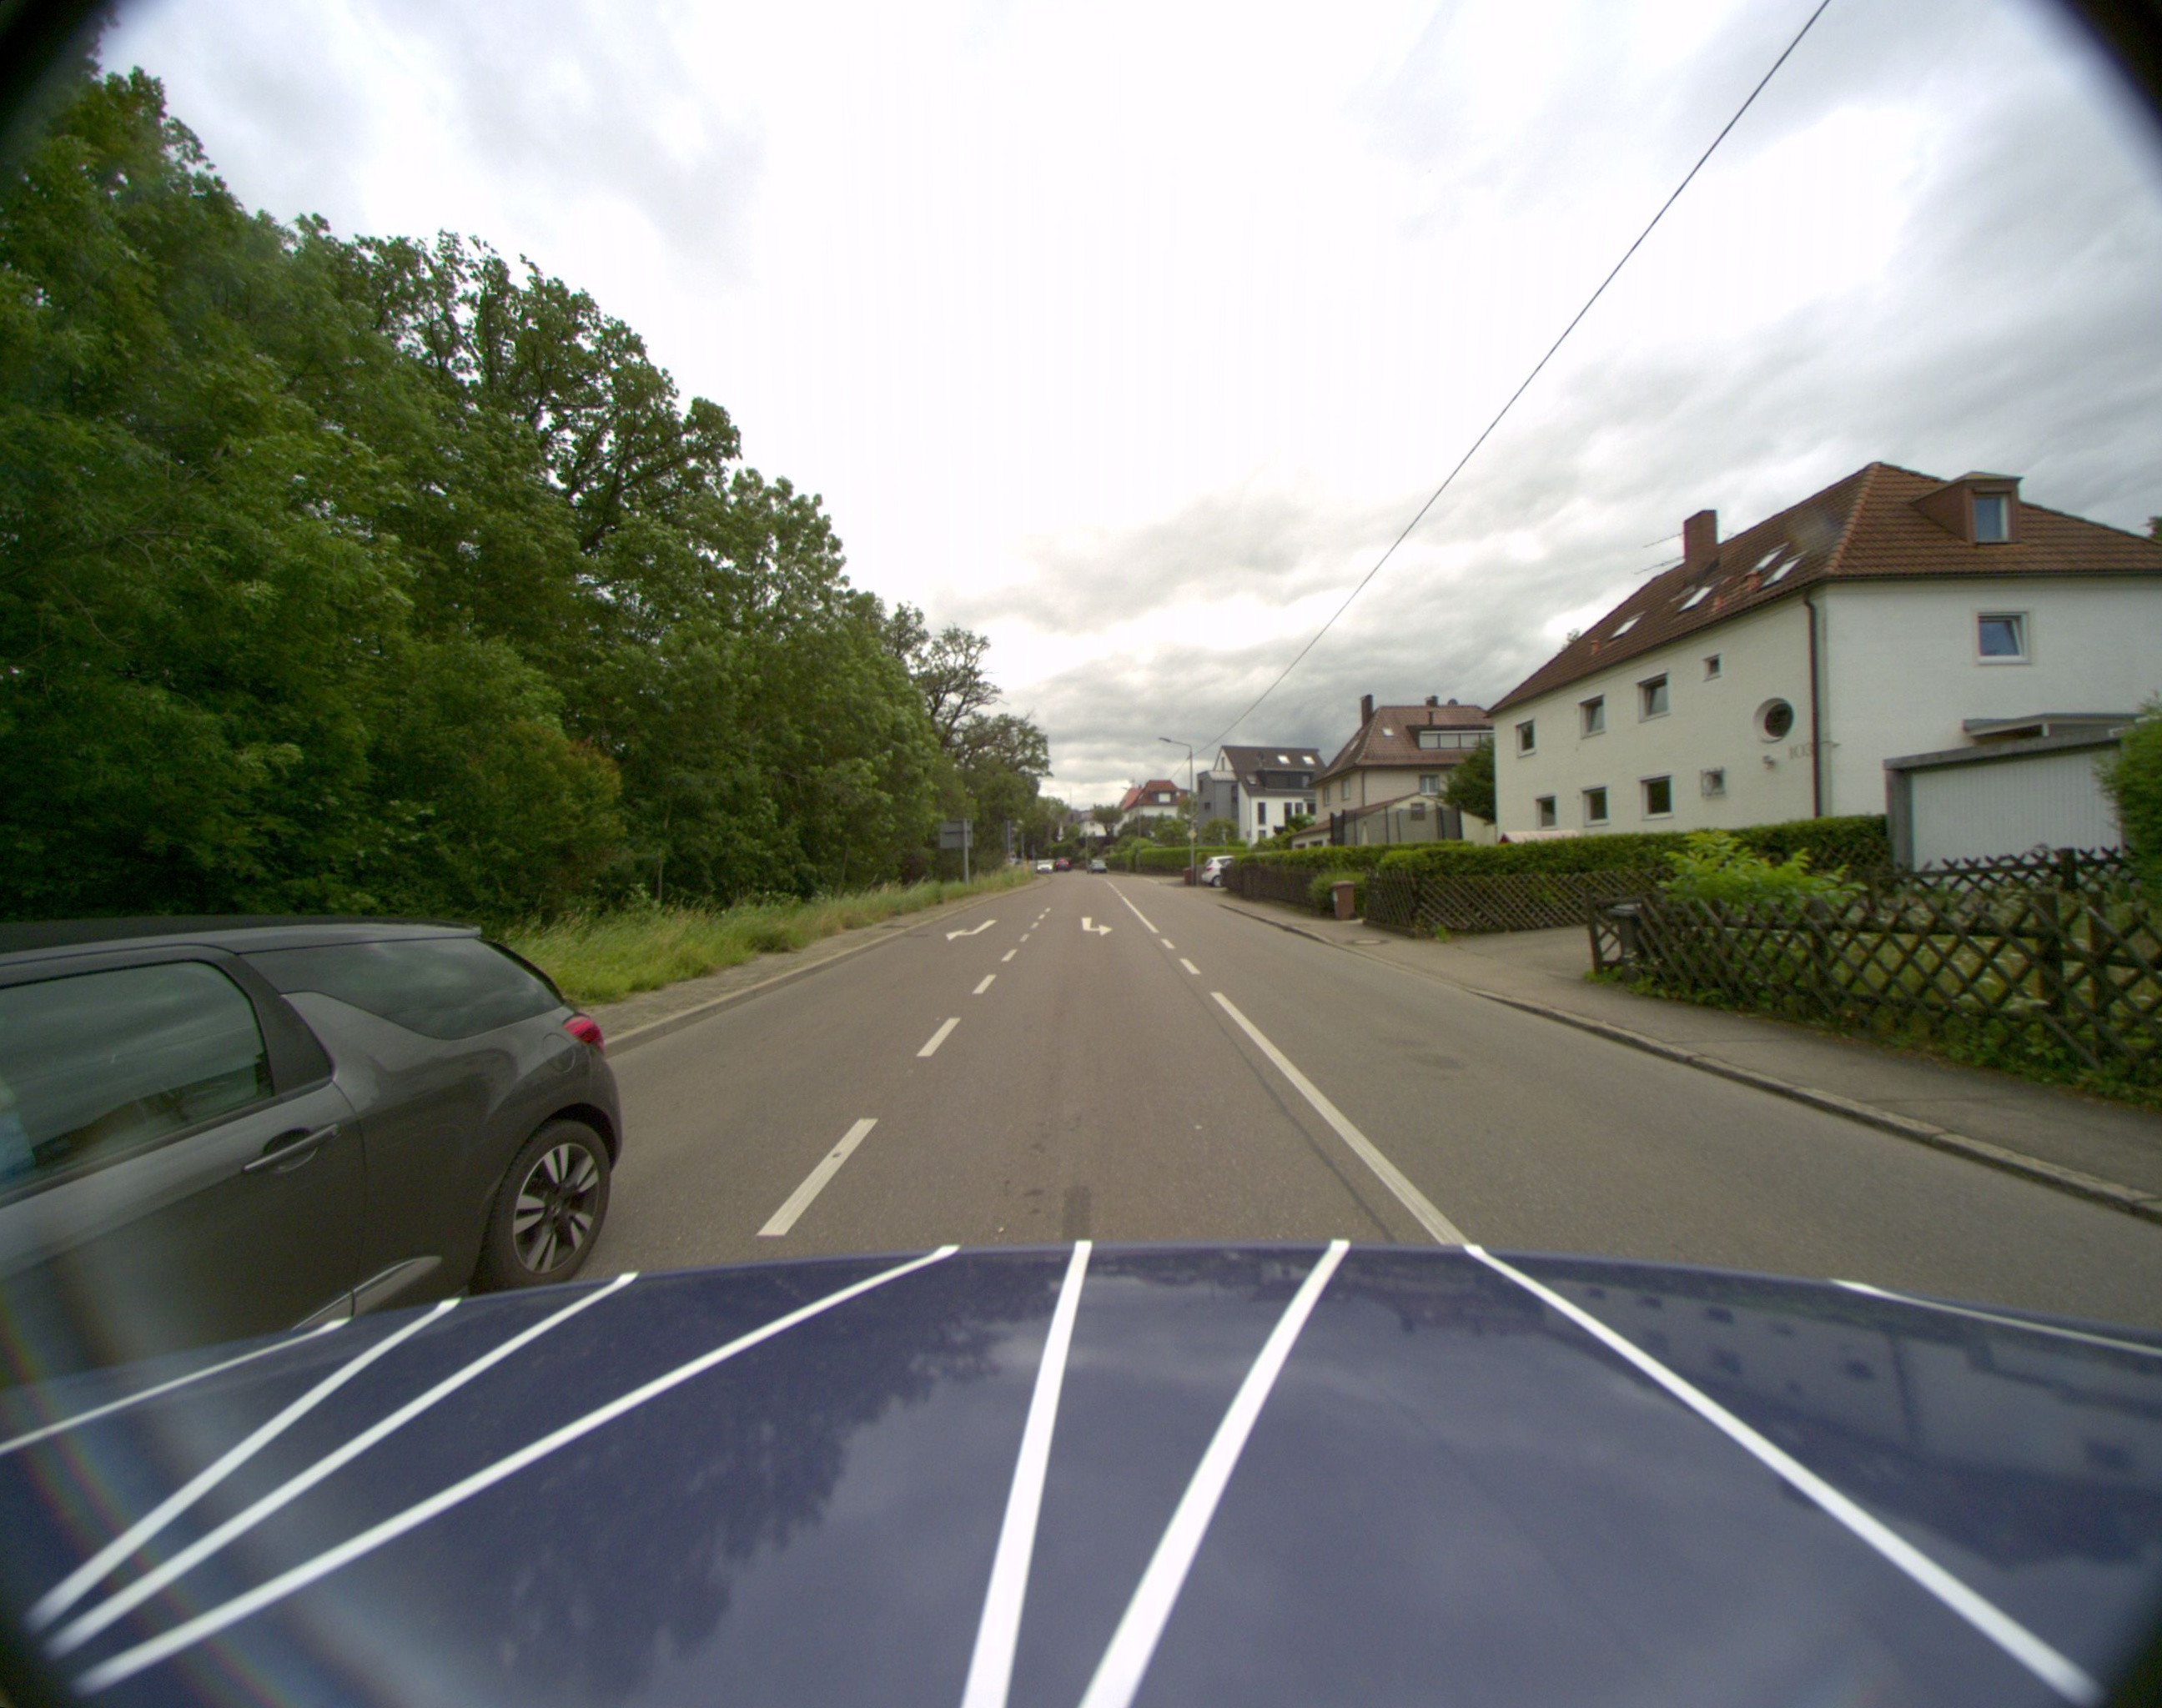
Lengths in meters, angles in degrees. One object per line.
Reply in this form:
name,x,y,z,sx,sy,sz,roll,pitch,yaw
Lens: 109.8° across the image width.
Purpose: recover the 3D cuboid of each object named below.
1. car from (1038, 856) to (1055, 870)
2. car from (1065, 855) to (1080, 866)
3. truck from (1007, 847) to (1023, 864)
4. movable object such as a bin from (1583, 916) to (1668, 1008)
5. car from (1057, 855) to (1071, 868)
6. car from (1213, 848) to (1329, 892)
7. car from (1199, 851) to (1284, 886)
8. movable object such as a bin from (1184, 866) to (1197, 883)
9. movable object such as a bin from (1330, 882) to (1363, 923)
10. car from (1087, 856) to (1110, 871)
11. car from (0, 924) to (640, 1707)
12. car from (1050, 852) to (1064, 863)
car,-4.262,1.103,95.287,1.999,1.565,3.999,-3,0,-2
car,-1.246,0.912,109.274,1.876,1.569,3.998,-1,0,-6
truck,-14.430,0.255,165.862,3.008,3.618,7.083,-1,0,-8
movable object such as a bin,5.987,1.172,8.377,0.551,0.932,0.538,-1,0,2
car,-2.288,1.003,100.084,1.818,1.590,3.955,-1,0,-2
car,8.503,0.686,34.306,4.682,1.660,1.882,-3,0,-1
car,8.381,0.741,39.904,3.997,1.584,1.718,-3,0,1
movable object such as a bin,6.175,1.164,42.970,0.689,0.948,0.572,-1,0,5
movable object such as a bin,6.231,1.145,17.856,0.634,0.907,0.561,-2,0,10
car,1.919,1.040,85.419,1.840,1.514,3.997,-1,0,-9
car,-2.837,1.058,1.333,1.730,1.449,3.855,-2,0,2
car,-3.903,0.552,122.793,1.833,1.665,3.997,-1,1,-6
